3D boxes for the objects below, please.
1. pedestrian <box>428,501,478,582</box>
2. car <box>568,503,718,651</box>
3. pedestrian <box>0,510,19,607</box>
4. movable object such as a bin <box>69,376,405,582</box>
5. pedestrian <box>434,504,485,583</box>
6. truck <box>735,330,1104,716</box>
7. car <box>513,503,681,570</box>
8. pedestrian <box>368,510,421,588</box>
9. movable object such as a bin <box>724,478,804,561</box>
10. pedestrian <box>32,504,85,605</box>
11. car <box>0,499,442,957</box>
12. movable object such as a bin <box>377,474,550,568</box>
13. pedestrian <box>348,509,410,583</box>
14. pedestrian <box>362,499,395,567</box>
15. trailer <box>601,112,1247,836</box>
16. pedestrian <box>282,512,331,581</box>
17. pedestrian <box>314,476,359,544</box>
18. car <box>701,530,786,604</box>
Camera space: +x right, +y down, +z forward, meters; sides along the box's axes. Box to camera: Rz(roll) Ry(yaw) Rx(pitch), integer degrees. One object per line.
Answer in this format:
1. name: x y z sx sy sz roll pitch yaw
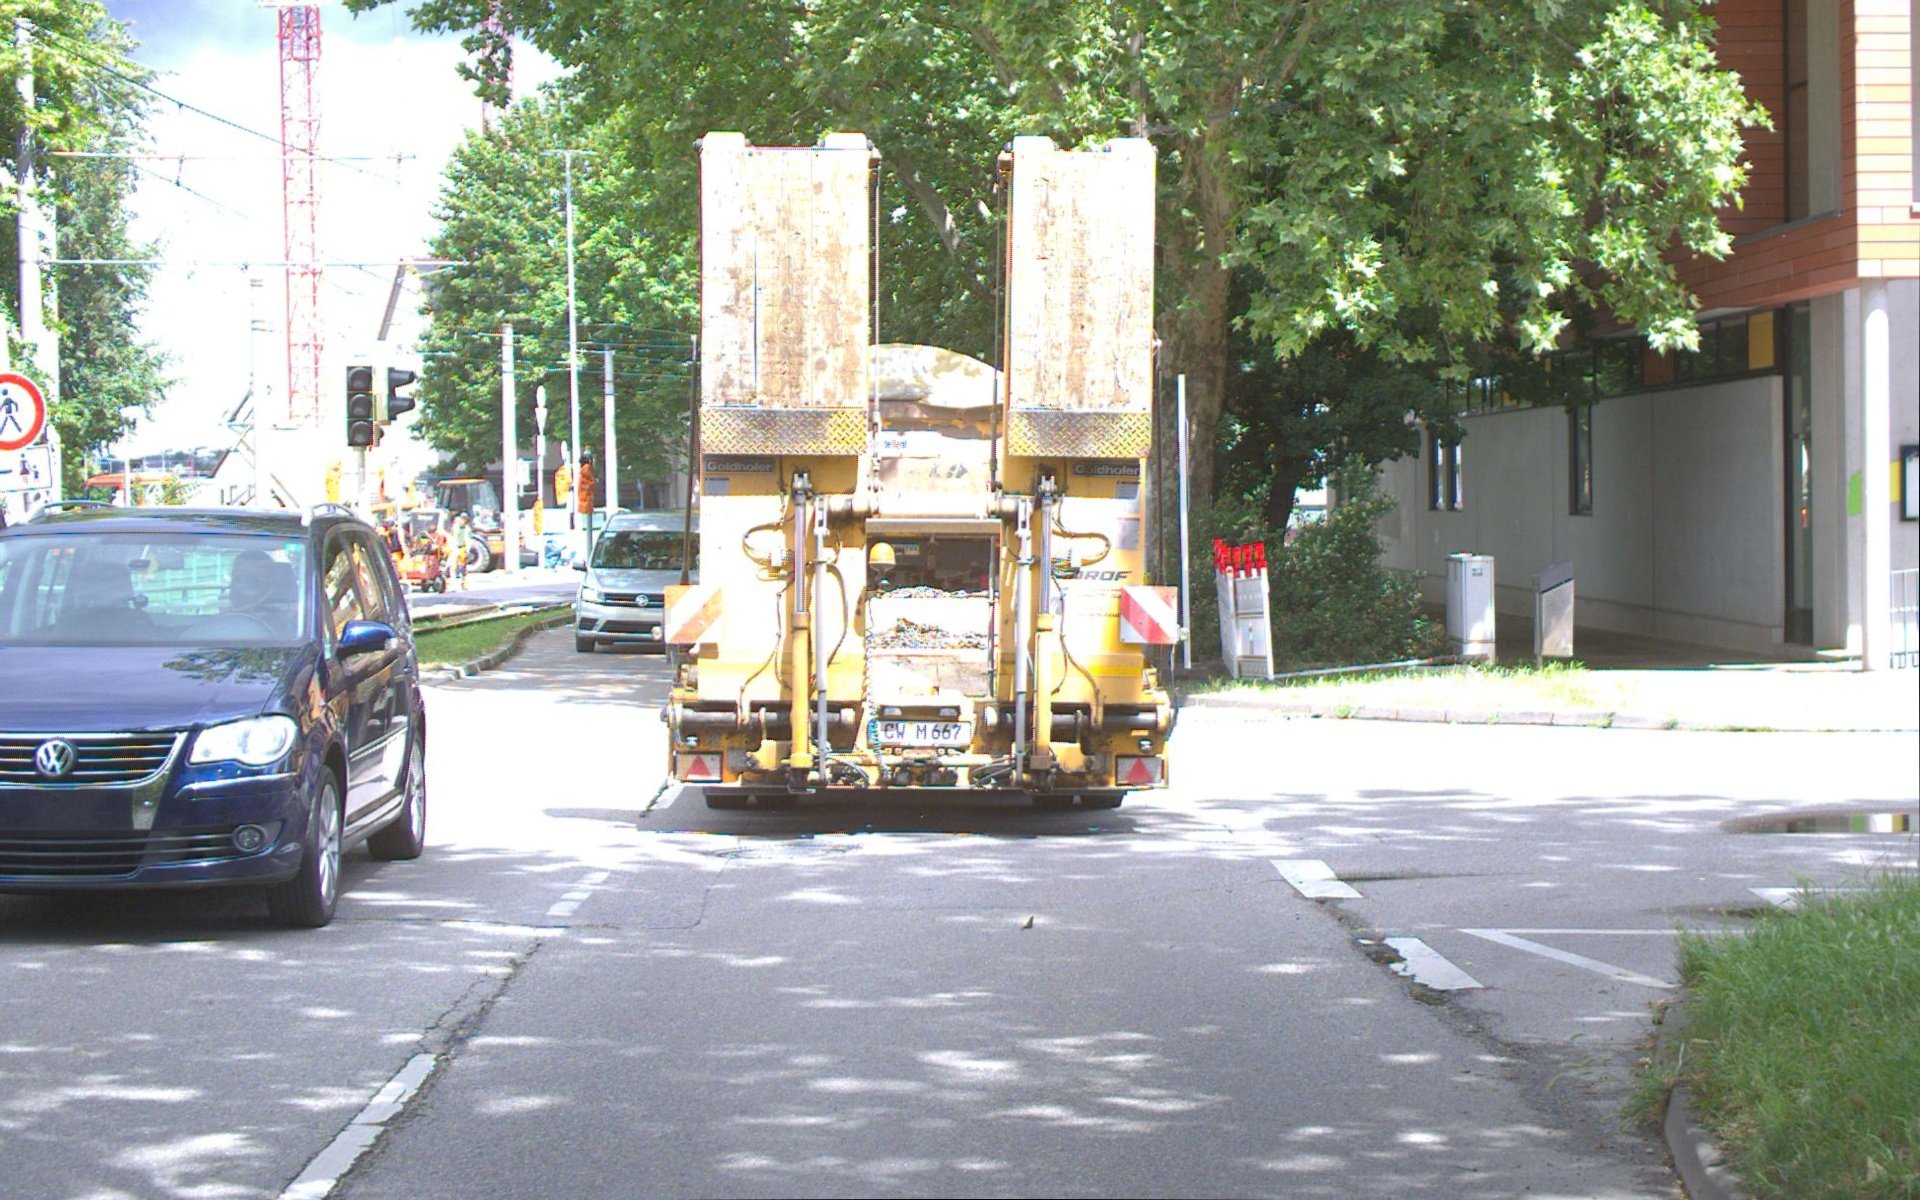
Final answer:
1. pedestrian: -11.738 -1.355 79.564 0.885 1.861 0.837 0 1 -29
2. car: -4.122 -0.321 45.241 1.753 1.834 4.646 0 1 -3
3. pedestrian: -16.409 -0.706 58.189 0.732 1.620 0.867 0 1 -1
4. movable object such as a bin: -19.611 -3.234 93.097 9.215 5.396 2.660 1 1 26
5. pedestrian: -11.947 -1.348 82.101 0.887 1.861 0.836 1 1 28
6. truck: -0.425 -0.693 31.932 2.989 3.124 7.888 0 1 -1
7. car: -11.609 -2.012 109.874 5.088 2.095 1.977 0 1 -15
8. pedestrian: -12.806 -1.166 77.867 0.886 1.754 0.836 1 1 20
9. movable object such as a bin: -4.835 -1.989 84.999 1.399 2.007 2.555 1 1 10
10. pedestrian: -15.435 -0.780 58.878 0.699 1.712 0.867 0 1 -1
11. car: -3.314 0.422 14.383 1.753 1.627 4.119 1 1 -1
12. movable object such as a bin: -14.096 -2.231 97.544 4.373 2.620 2.217 1 1 26
13. pedestrian: -13.520 -1.264 79.957 1.108 1.709 0.888 -1 2 -45
14. pedestrian: -15.888 -1.828 93.870 0.834 1.861 0.888 0 1 -12
15. trailer: -0.242 -0.715 22.437 3.154 3.540 11.097 0 1 -1
16. pedestrian: -15.619 -1.275 82.154 0.885 1.639 0.900 0 1 -31
17. pedestrian: -15.176 -2.185 83.710 0.885 1.639 0.837 0 1 -26
18. car: -4.316 -0.678 68.888 1.635 1.430 3.852 0 1 -3
